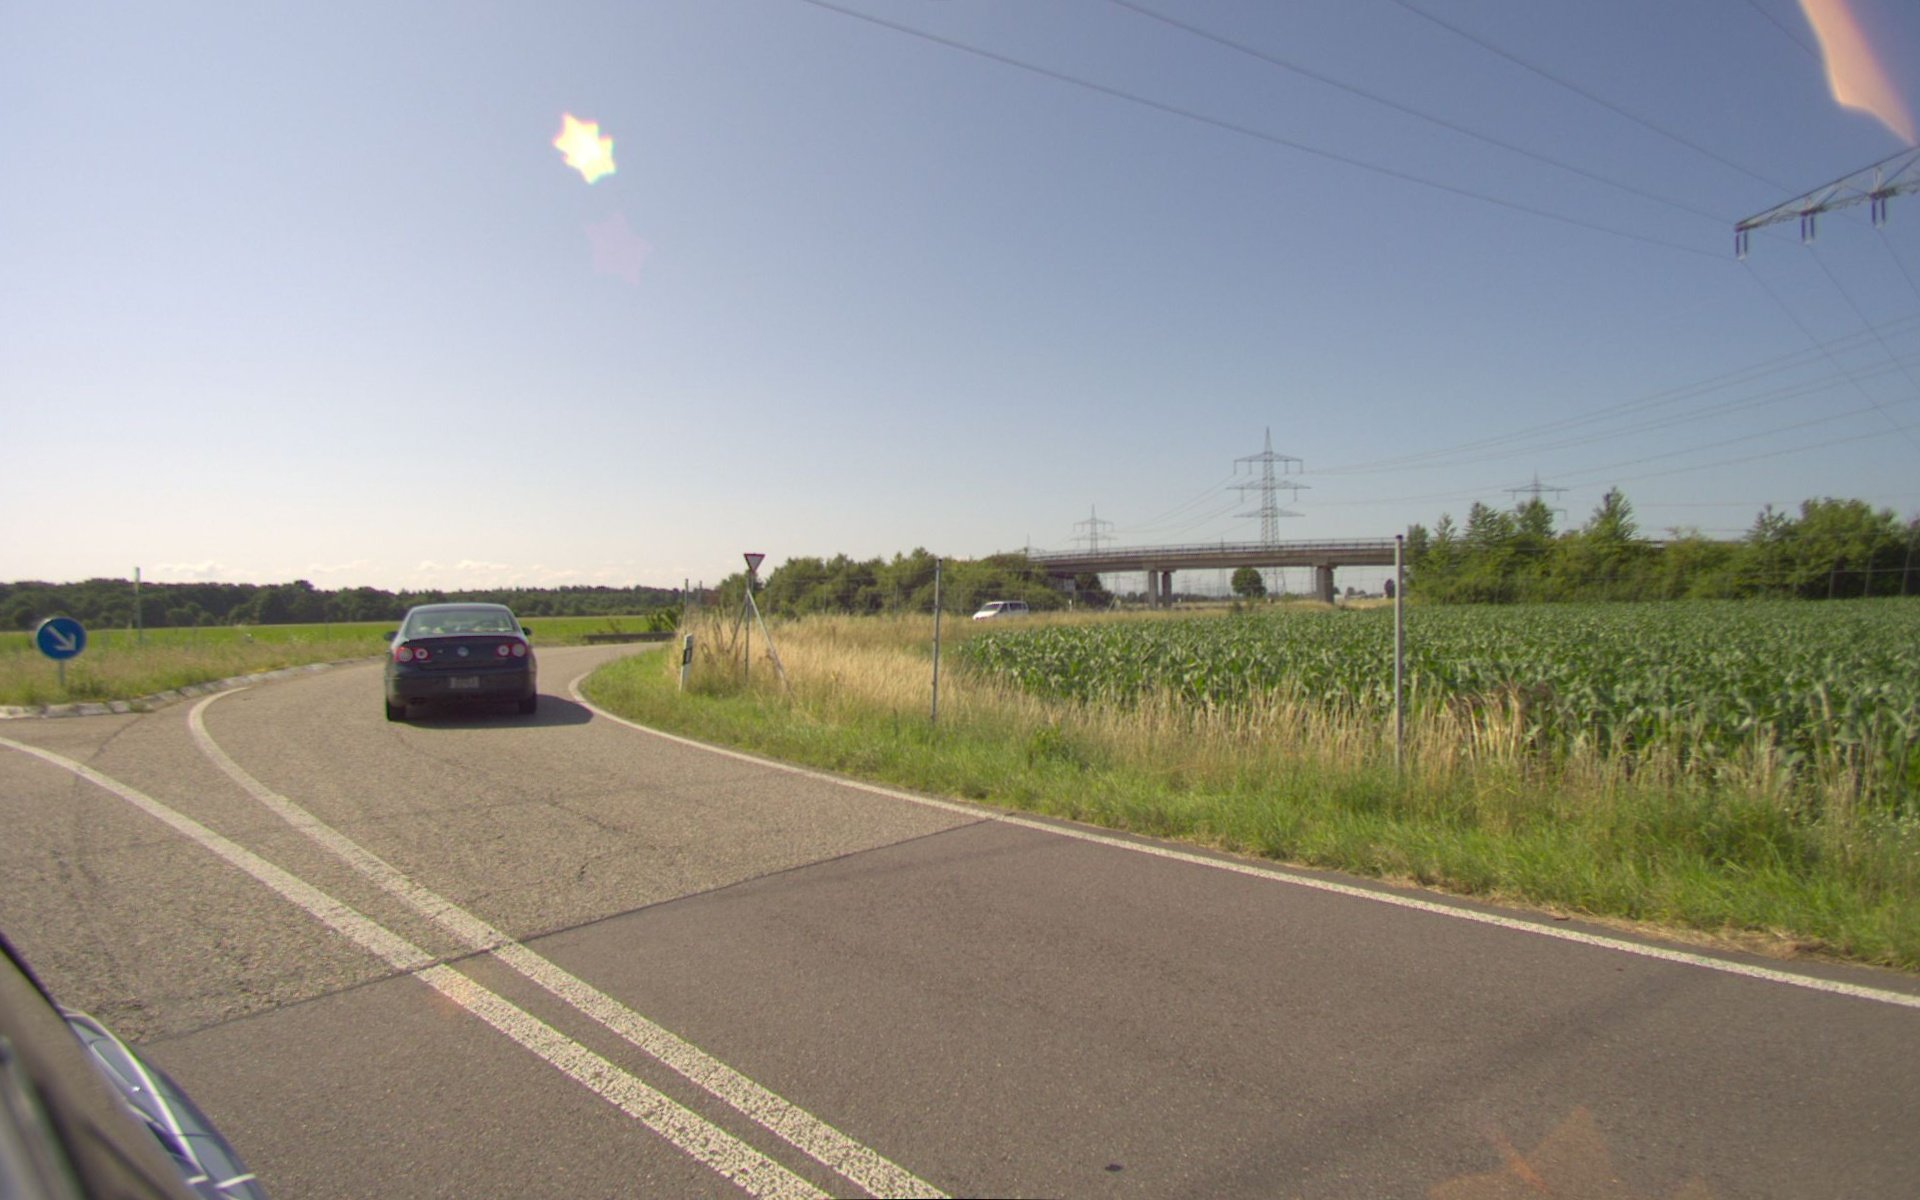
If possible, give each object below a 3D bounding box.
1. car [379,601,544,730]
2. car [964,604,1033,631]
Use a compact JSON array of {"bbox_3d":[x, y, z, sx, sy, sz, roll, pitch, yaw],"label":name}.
[{"bbox_3d":[-6.992,0.764,13.974,1.750,1.467,4.606,0,0,-29],"label":"car"},{"bbox_3d":[2.722,1.191,70.336,2.099,1.652,5.286,-1,1,37],"label":"car"}]
